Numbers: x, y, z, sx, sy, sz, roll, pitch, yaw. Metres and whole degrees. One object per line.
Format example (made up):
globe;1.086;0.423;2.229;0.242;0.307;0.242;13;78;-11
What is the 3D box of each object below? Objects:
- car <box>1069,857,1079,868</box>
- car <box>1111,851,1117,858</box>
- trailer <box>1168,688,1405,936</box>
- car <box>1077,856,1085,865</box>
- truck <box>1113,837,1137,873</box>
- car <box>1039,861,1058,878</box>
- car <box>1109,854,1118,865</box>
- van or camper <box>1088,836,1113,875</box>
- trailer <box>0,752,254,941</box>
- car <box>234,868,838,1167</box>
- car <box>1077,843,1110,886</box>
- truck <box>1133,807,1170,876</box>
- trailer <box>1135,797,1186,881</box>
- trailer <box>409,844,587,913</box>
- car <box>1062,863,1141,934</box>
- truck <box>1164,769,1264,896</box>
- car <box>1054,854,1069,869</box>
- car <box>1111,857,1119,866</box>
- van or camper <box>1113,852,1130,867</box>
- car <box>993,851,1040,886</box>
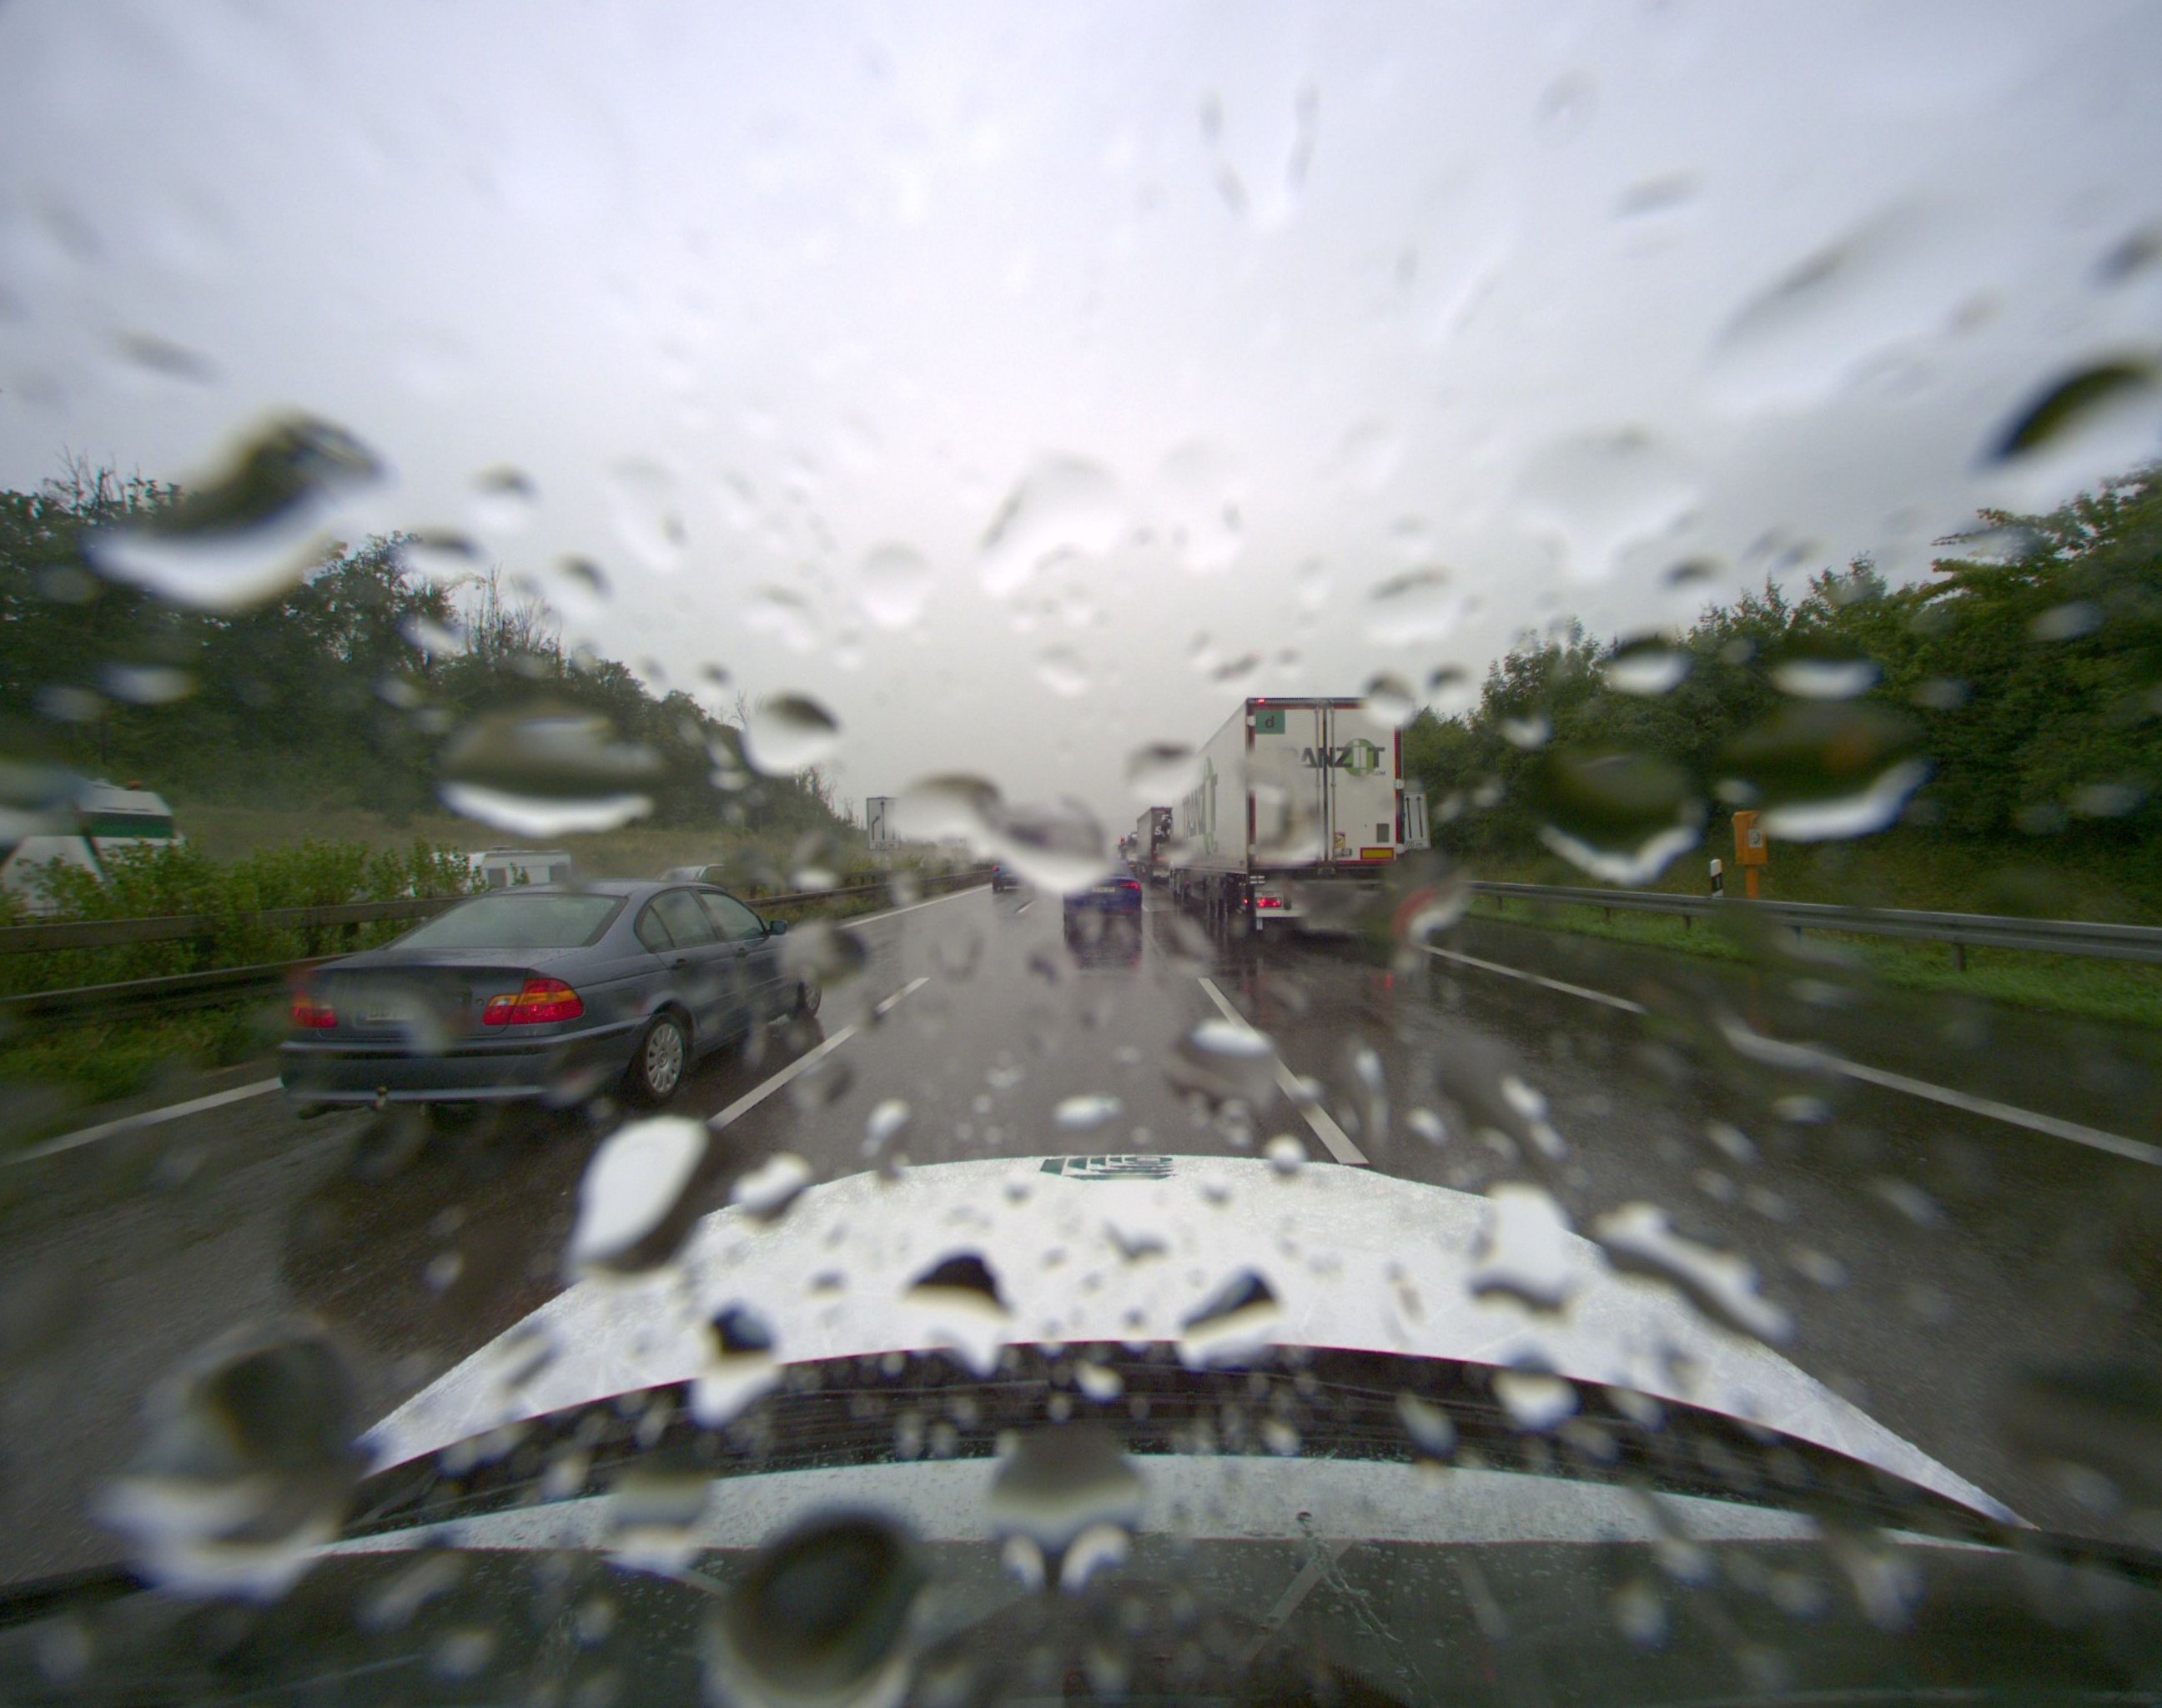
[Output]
car;-1.082;1.329;127.260;1.443;1.784;3.410;-1;0;1
car;9.083;0.198;224.400;1.443;1.784;3.410;-1;0;1
trailer;4.151;-0.716;20.672;2.621;4.013;14.633;-1;0;1
car;0.027;1.284;166.027;1.443;1.784;3.410;-1;0;1
truck;4.402;0.032;82.122;1.987;3.421;8.031;-1;1;0
car;-2.760;1.327;70.167;1.434;1.420;3.323;-1;0;1
car;5.336;0.857;133.603;1.443;1.784;3.410;-1;0;1
van or camper;1.497;0.105;62.444;1.791;2.806;4.769;-1;0;1
trailer;-16.761;-0.049;11.484;2.472;2.719;7.327;-3;-1;2
car;-3.369;0.854;6.207;1.712;1.400;4.229;-1;0;0
car;0.575;0.428;35.844;1.332;1.780;3.323;-1;0;1
truck;4.496;-0.791;52.270;2.039;4.193;4.001;-1;0;1
trailer;4.345;-0.765;46.372;2.039;4.176;11.451;-1;0;1
trailer;-19.634;0.822;27.836;2.085;2.014;5.350;-3;-1;1
car;0.507;0.962;19.181;1.629;1.445;4.002;-1;0;2
truck;4.317;-0.663;27.346;2.621;3.827;4.792;-1;0;1
car;-2.065;0.800;86.340;1.434;1.533;3.323;-1;0;1
car;6.008;1.294;144.896;1.244;1.512;3.109;-2;1;1
van or camper;4.535;0.581;92.003;1.765;1.625;4.485;-1;1;1
car;-2.986;0.648;38.453;1.715;1.523;4.002;-1;0;2
